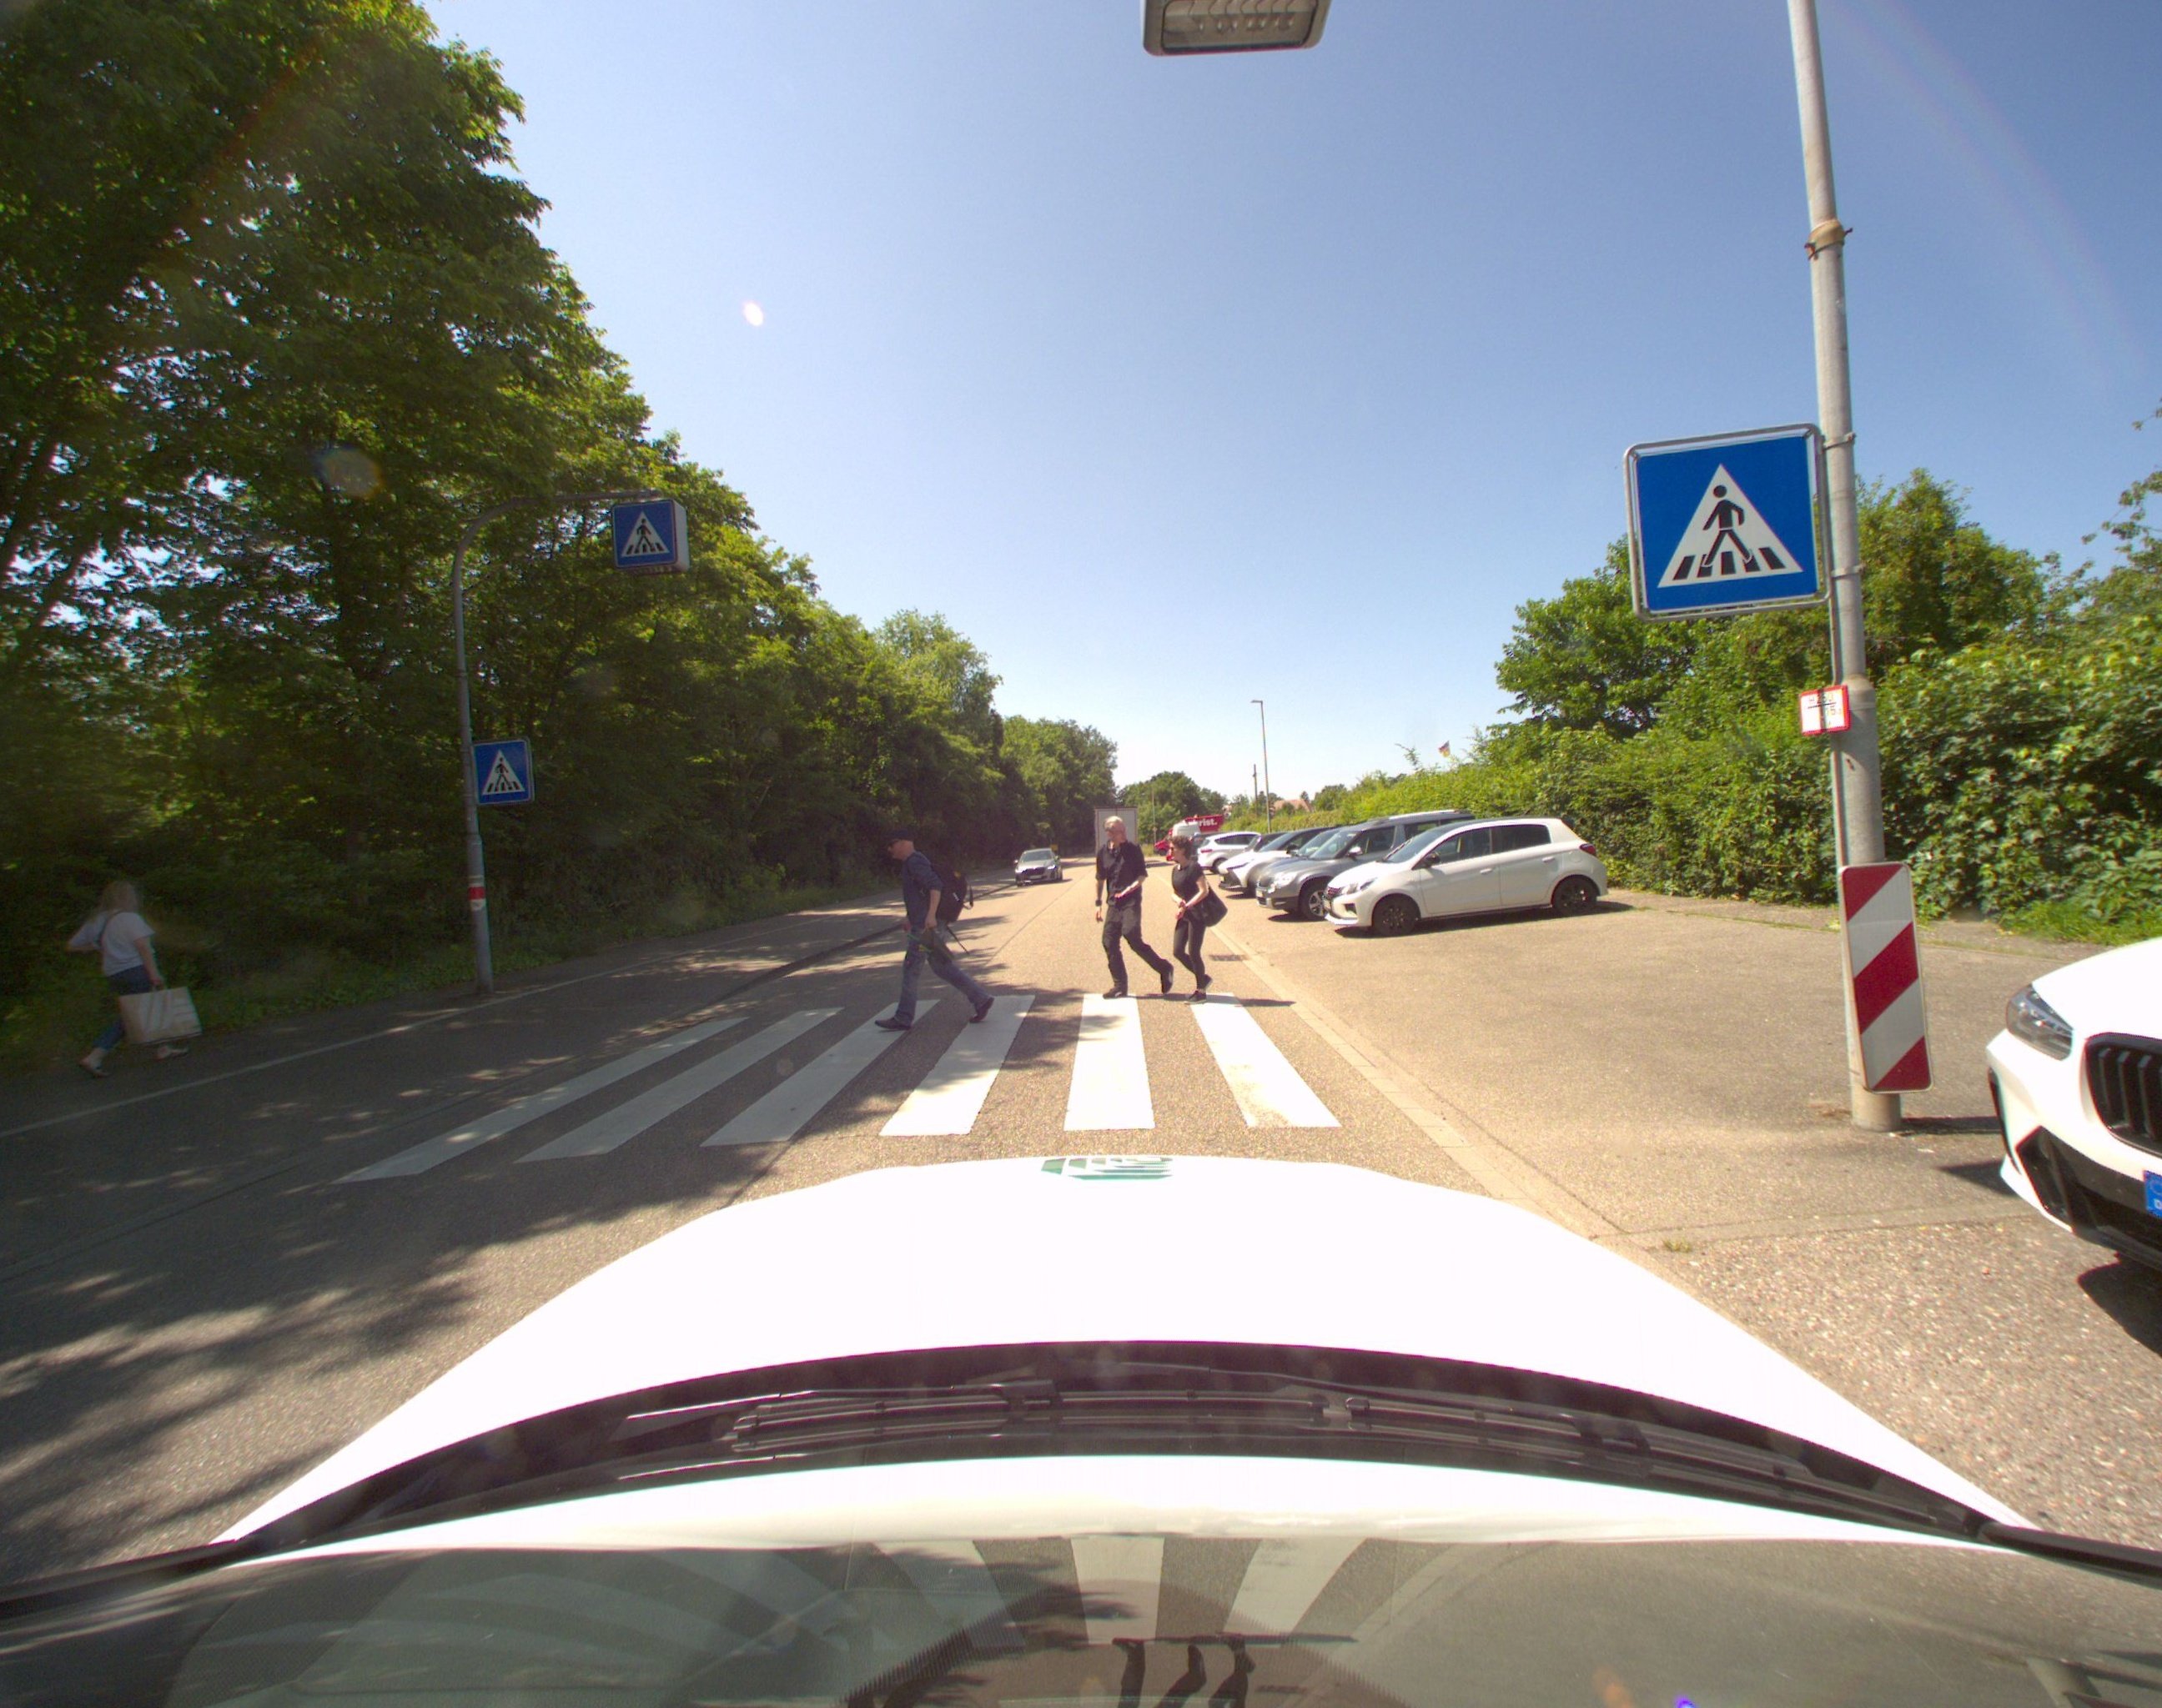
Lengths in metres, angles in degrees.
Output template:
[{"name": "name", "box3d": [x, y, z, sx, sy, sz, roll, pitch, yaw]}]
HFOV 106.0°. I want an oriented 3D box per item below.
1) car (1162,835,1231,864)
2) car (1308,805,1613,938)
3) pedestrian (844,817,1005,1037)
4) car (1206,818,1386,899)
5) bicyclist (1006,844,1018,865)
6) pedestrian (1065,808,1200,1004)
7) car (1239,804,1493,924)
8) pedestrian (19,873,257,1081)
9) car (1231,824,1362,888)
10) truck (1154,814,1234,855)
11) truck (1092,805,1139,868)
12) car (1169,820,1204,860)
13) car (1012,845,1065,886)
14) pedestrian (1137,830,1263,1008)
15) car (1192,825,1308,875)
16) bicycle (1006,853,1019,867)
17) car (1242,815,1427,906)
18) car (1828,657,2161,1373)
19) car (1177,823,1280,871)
[{"name": "car", "box3d": [7.393, -0.300, 52.263, 4.042, 1.434, 1.835, -6, 1, -1]}, {"name": "car", "box3d": [5.455, 0.239, 12.091, 3.671, 1.450, 1.613, -7, 1, 6]}, {"name": "pedestrian", "box3d": [-1.341, 0.597, 7.248, 1.152, 1.751, 1.023, -3, 0, -1]}, {"name": "car", "box3d": [5.403, 0.104, 20.768, 3.954, 1.522, 1.862, -7, 1, -4]}, {"name": "bicyclist", "box3d": [-5.278, 0.017, 62.519, 0.645, 1.565, 0.838, -3, 0, 6]}, {"name": "pedestrian", "box3d": [0.528, 0.482, 8.373, 1.090, 1.864, 0.776, -2, 1, -32]}, {"name": "car", "box3d": [5.136, 0.160, 14.971, 3.952, 1.640, 1.662, -7, 1, -3]}, {"name": "pedestrian", "box3d": [-8.112, 1.011, 7.063, 0.929, 1.612, 0.886, -3, 1, 1]}, {"name": "car", "box3d": [6.204, 0.040, 23.744, 3.371, 1.503, 1.590, -5, 1, 5]}, {"name": "truck", "box3d": [10.689, -1.867, 76.778, 7.087, 3.439, 2.339, -3, 1, 13]}, {"name": "truck", "box3d": [2.473, -1.144, 56.069, 2.722, 3.745, 13.258, -2, 1, 3]}, {"name": "car", "box3d": [8.062, -1.105, 62.713, 1.946, 2.733, 7.175, -5, 1, 4]}, {"name": "car", "box3d": [-1.835, 0.467, 36.512, 1.884, 1.532, 4.198, -7, 1, 1]}, {"name": "pedestrian", "box3d": [1.164, 0.592, 8.022, 0.899, 1.611, 0.773, -2, 1, -32]}, {"name": "car", "box3d": [6.825, -0.172, 33.186, 4.262, 1.578, 1.765, -6, 1, 0]}, {"name": "bicycle", "box3d": [-5.252, 0.448, 62.497, 0.558, 1.027, 1.842, -3, 1, 7]}, {"name": "car", "box3d": [5.492, 0.130, 17.895, 3.445, 1.527, 1.538, -7, 1, -3]}, {"name": "car", "box3d": [4.769, 0.216, 1.756, 4.436, 1.729, 1.852, -5, 0, 2]}, {"name": "car", "box3d": [7.082, -0.334, 39.396, 4.441, 1.804, 1.951, -6, 0, -2]}]
